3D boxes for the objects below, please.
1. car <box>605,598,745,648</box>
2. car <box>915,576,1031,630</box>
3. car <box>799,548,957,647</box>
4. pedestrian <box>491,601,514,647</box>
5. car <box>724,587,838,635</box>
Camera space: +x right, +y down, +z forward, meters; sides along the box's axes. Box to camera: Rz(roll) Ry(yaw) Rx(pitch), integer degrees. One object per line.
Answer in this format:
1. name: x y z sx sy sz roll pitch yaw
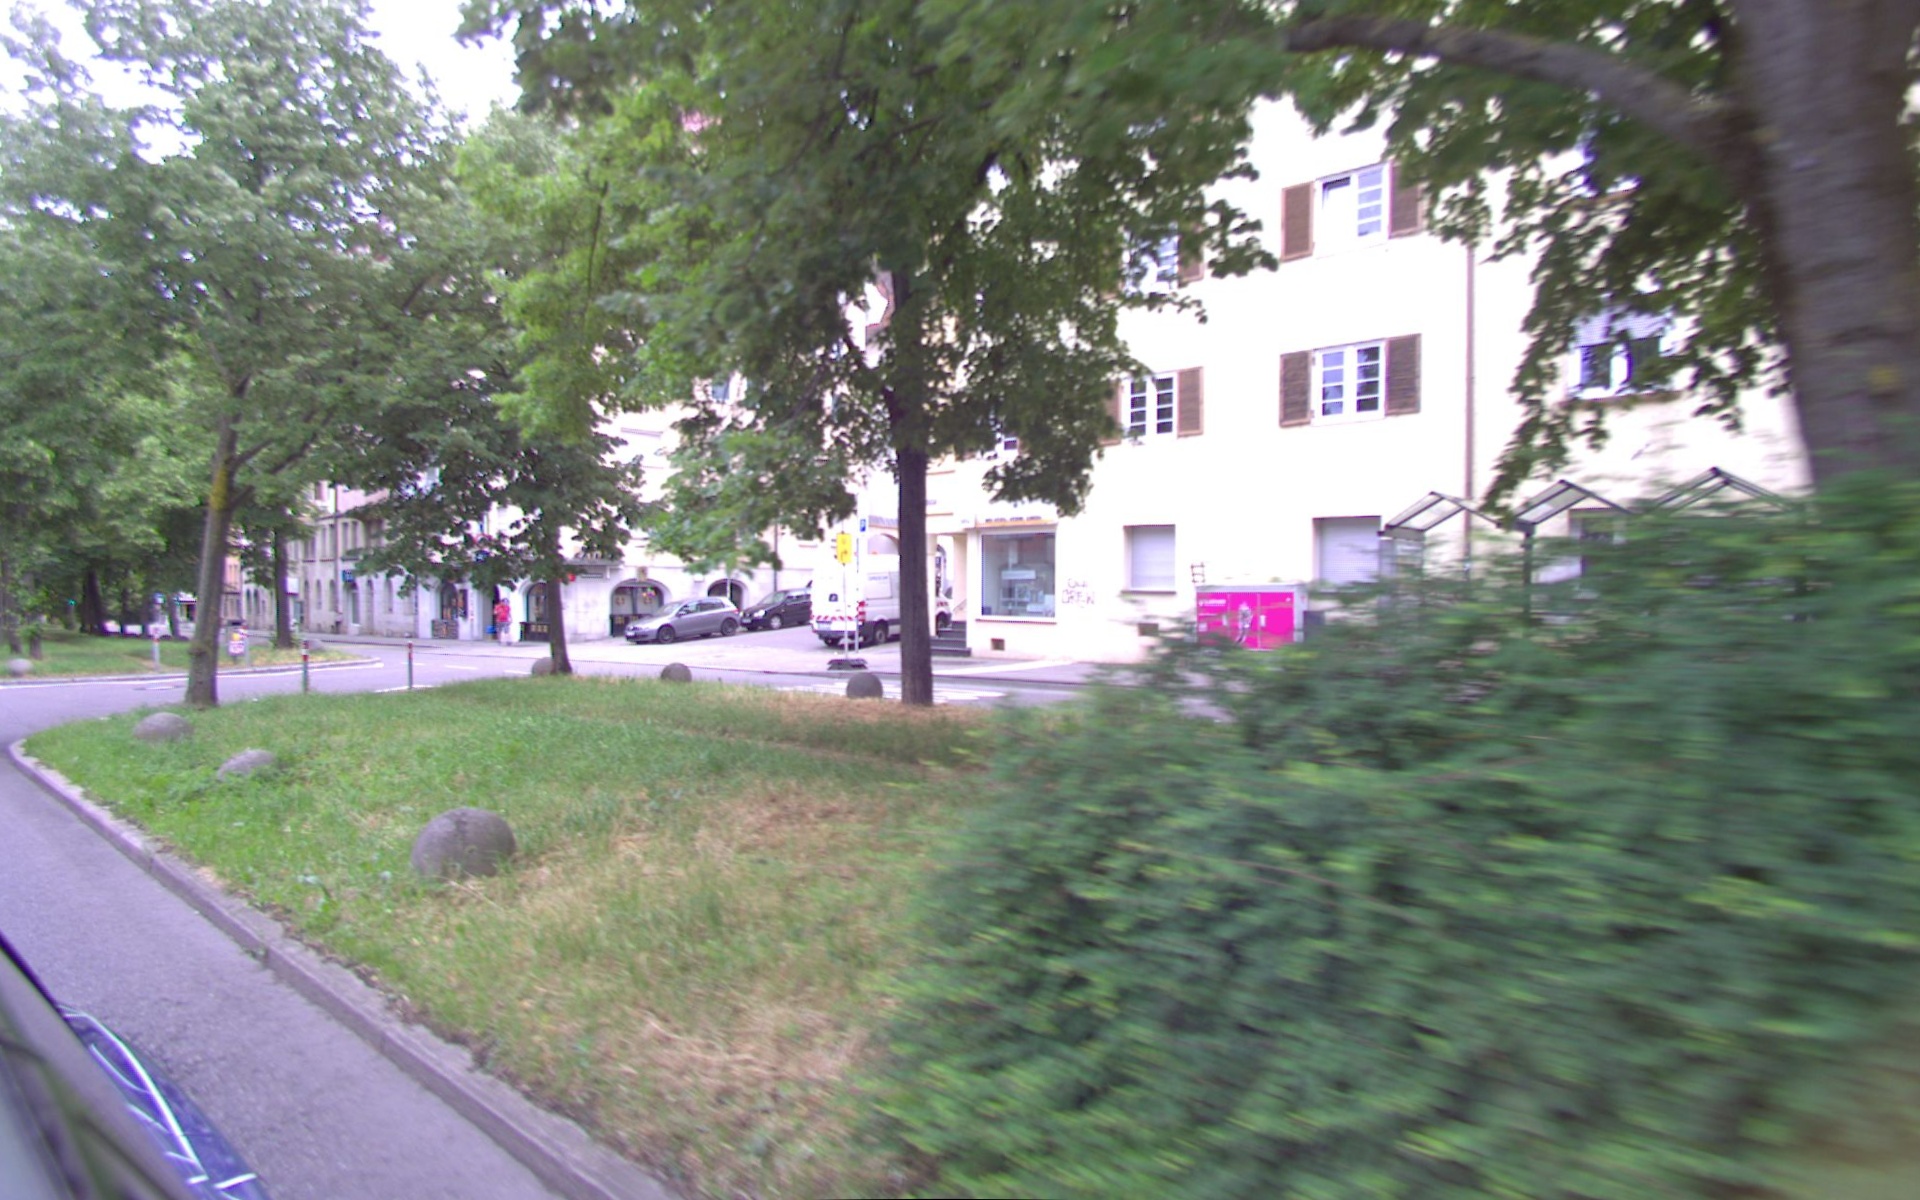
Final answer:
1. car: -9.944 0.780 35.551 2.048 1.430 4.241 -3 1 44
2. car: 0.556 0.070 35.354 1.992 1.648 4.725 -2 1 30
3. car: -2.354 -0.109 30.691 2.169 2.757 5.136 -2 1 30
4. pedestrian: -16.965 0.901 37.520 0.701 1.679 0.526 -2 -1 44
5. car: -6.843 0.408 38.976 1.997 1.430 3.951 -2 4 38
